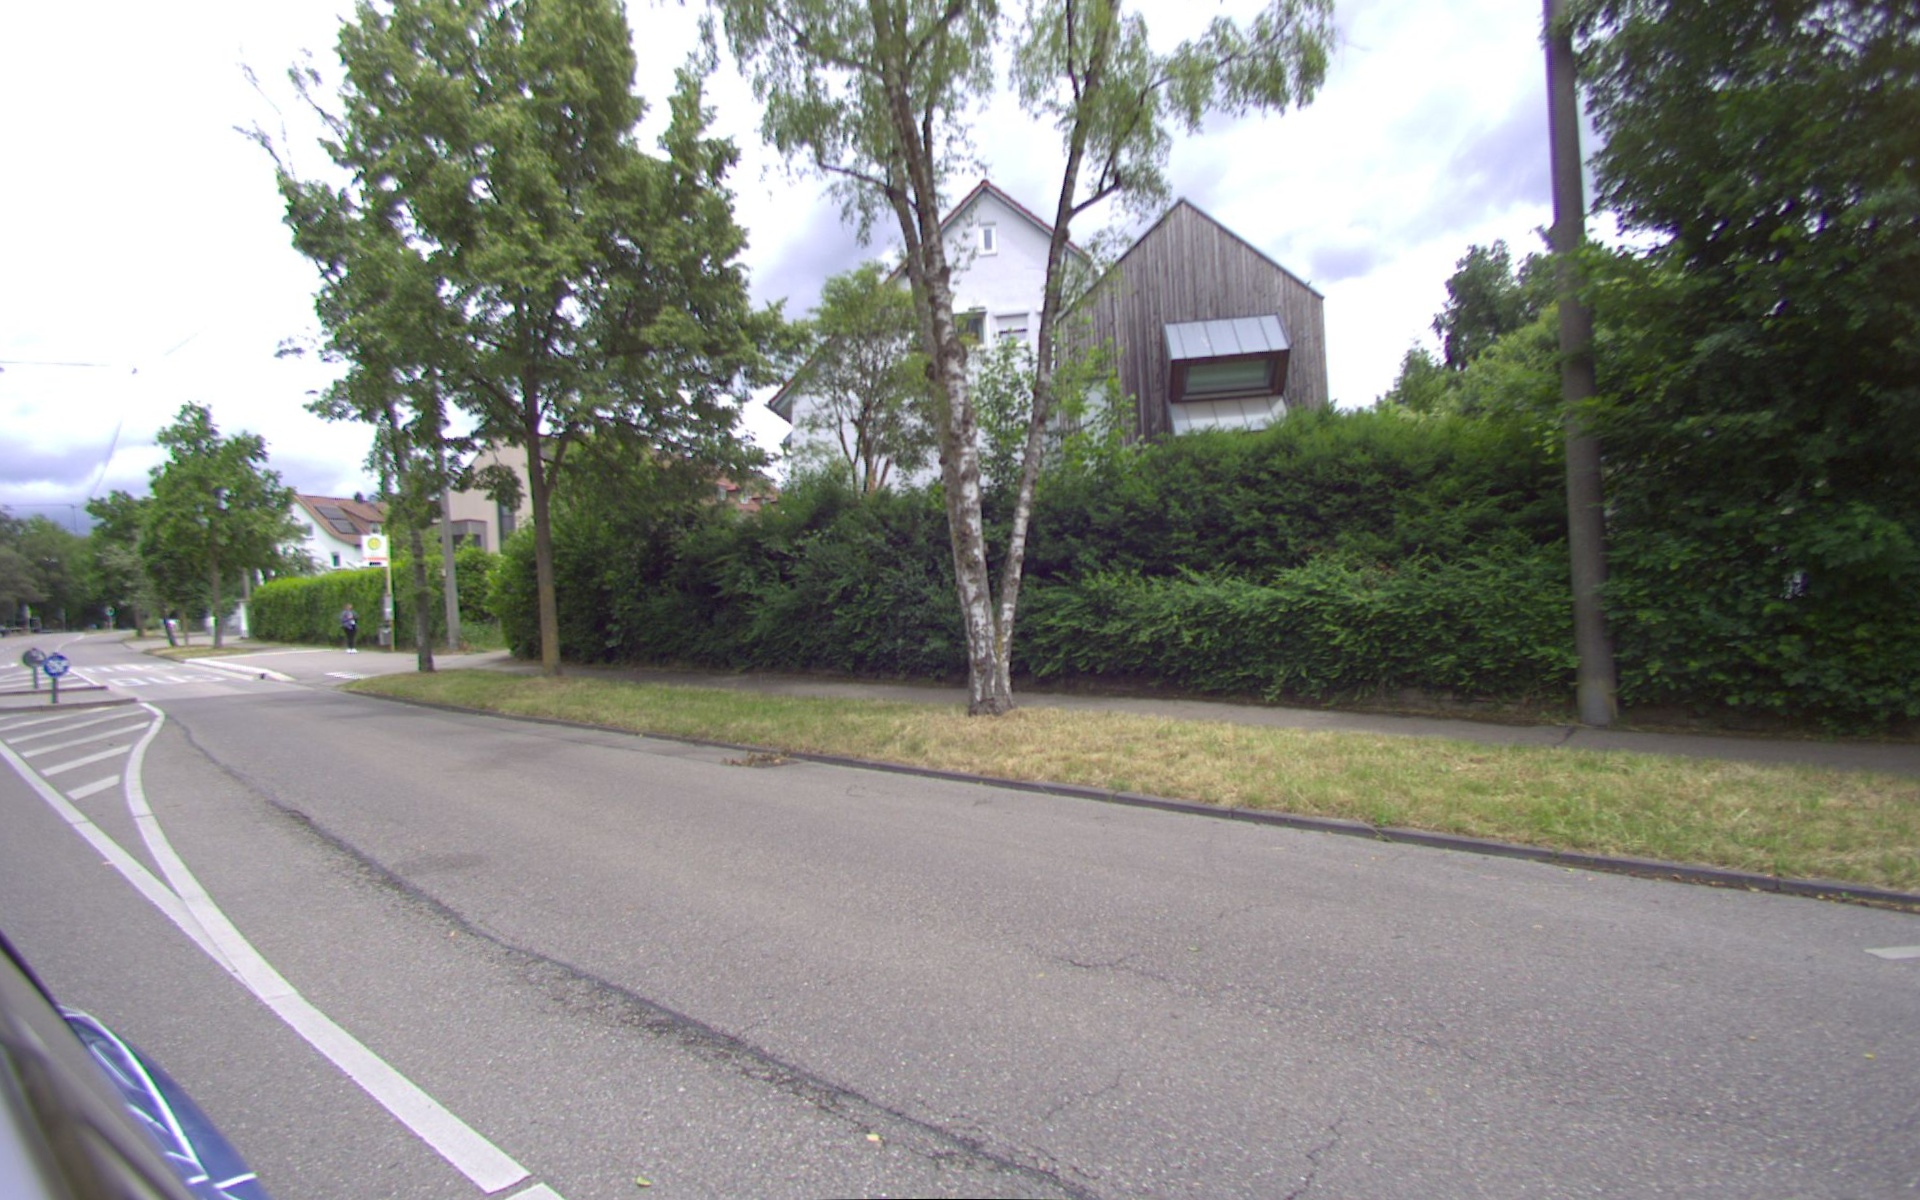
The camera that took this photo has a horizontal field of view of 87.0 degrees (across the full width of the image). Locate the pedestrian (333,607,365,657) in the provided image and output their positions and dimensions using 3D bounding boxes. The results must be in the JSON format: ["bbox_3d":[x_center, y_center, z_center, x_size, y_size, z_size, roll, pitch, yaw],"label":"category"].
[{"bbox_3d":[-21.437,1.112,35.501,0.777,1.723,0.685,-2,0,40],"label":"pedestrian"}]
